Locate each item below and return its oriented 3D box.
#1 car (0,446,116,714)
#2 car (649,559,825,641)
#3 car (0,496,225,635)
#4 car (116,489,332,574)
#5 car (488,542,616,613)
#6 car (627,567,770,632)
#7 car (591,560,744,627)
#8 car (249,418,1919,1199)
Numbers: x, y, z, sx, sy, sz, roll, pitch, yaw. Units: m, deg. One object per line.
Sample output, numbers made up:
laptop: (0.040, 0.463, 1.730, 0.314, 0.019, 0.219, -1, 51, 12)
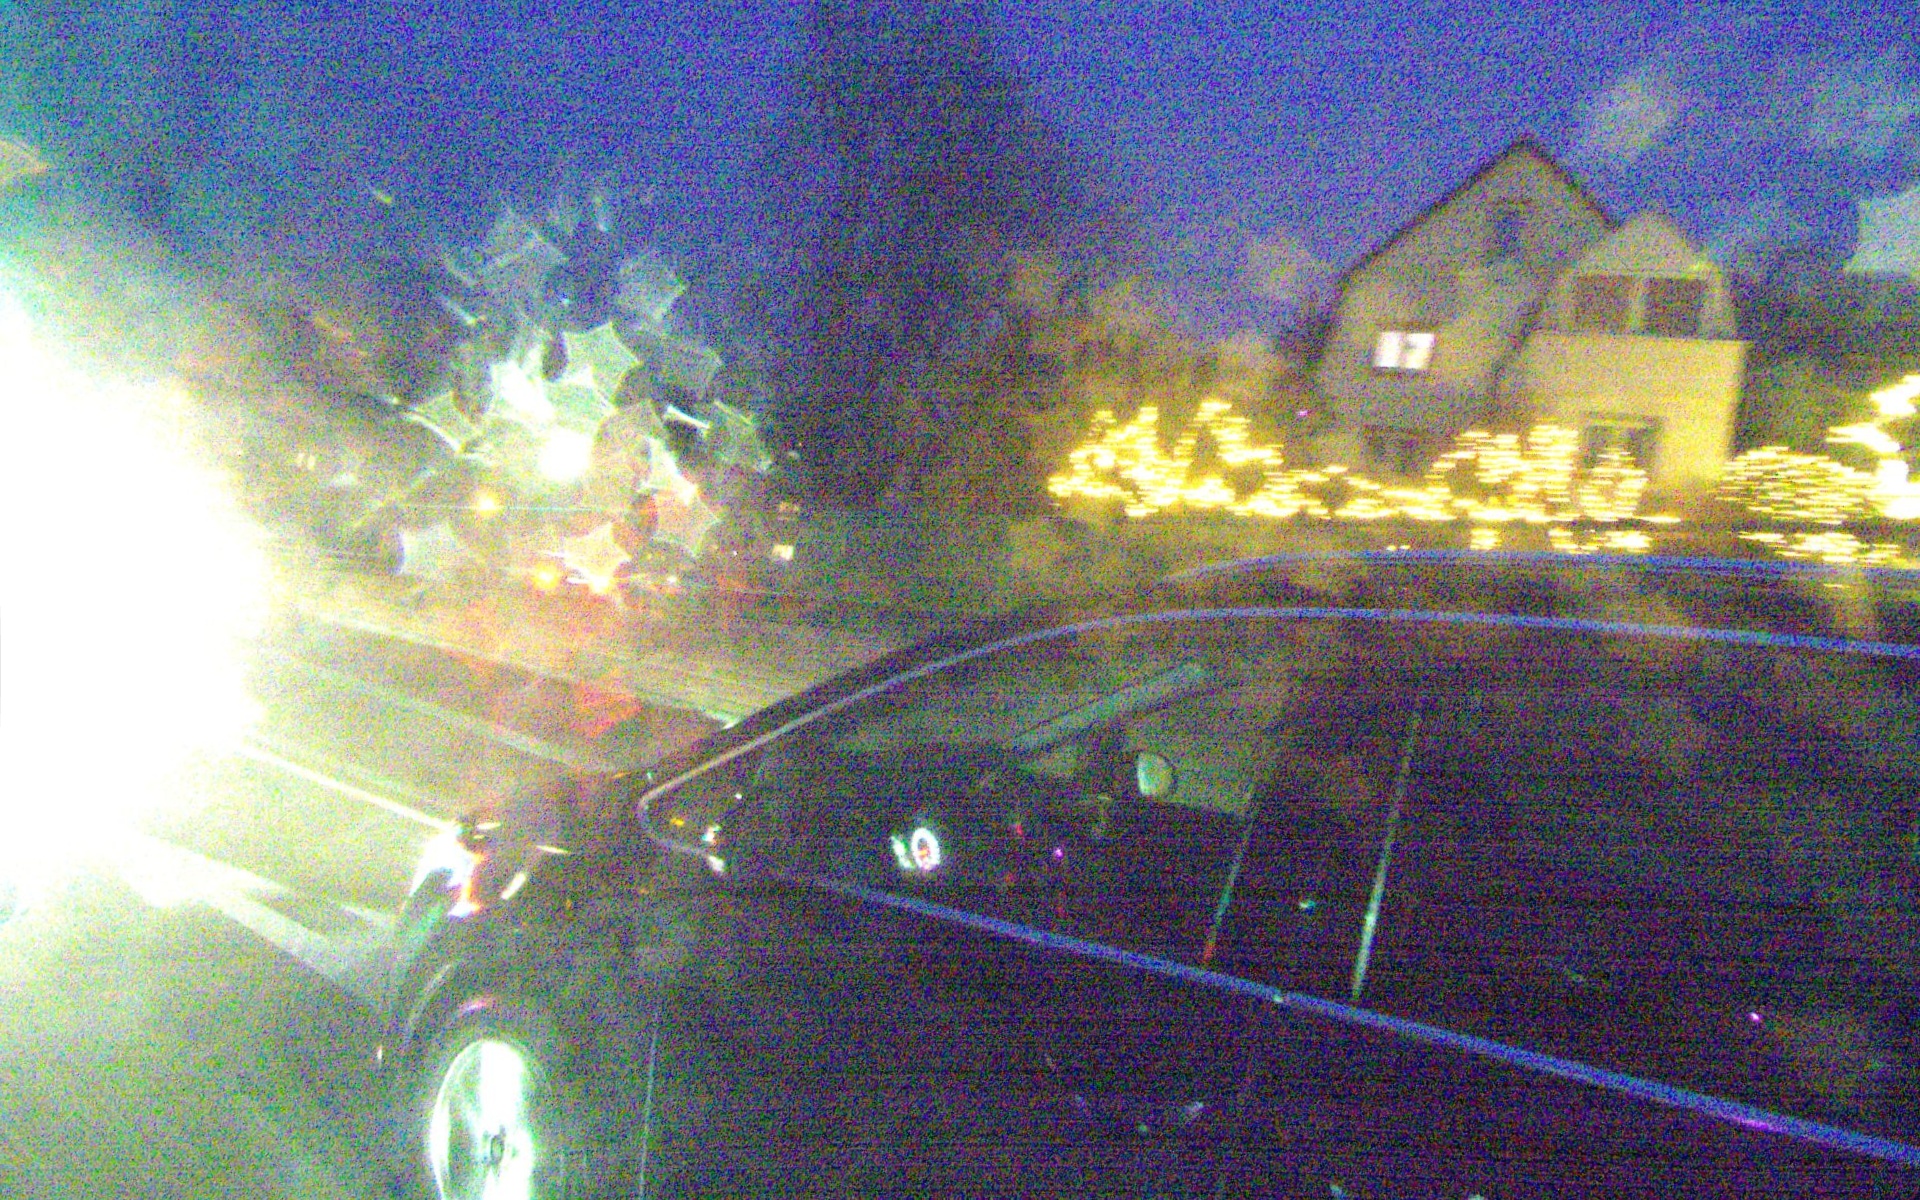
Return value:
car: (-8.797, -0.364, 7.949, 4.269, 1.886, 1.855, 6, -2, 32)
car: (-5.649, 0.029, 25.759, 3.921, 1.504, 1.745, 10, -3, -40)
car: (-12.070, -0.543, 13.628, 4.166, 1.459, 1.788, 7, 0, 30)
car: (-19.310, -1.741, 26.677, 4.297, 1.476, 1.838, 9, -2, -30)
car: (-10.978, -0.634, 26.855, 1.714, 1.500, 4.656, 9, -3, -39)
car: (-7.255, 0.013, 28.063, 3.484, 1.306, 1.457, 10, -3, -40)
car: (-8.784, -0.185, 30.309, 3.964, 1.446, 1.828, 9, -3, -34)
car: (0.915, 0.756, 1.953, 4.859, 1.755, 1.838, 6, -2, 32)
